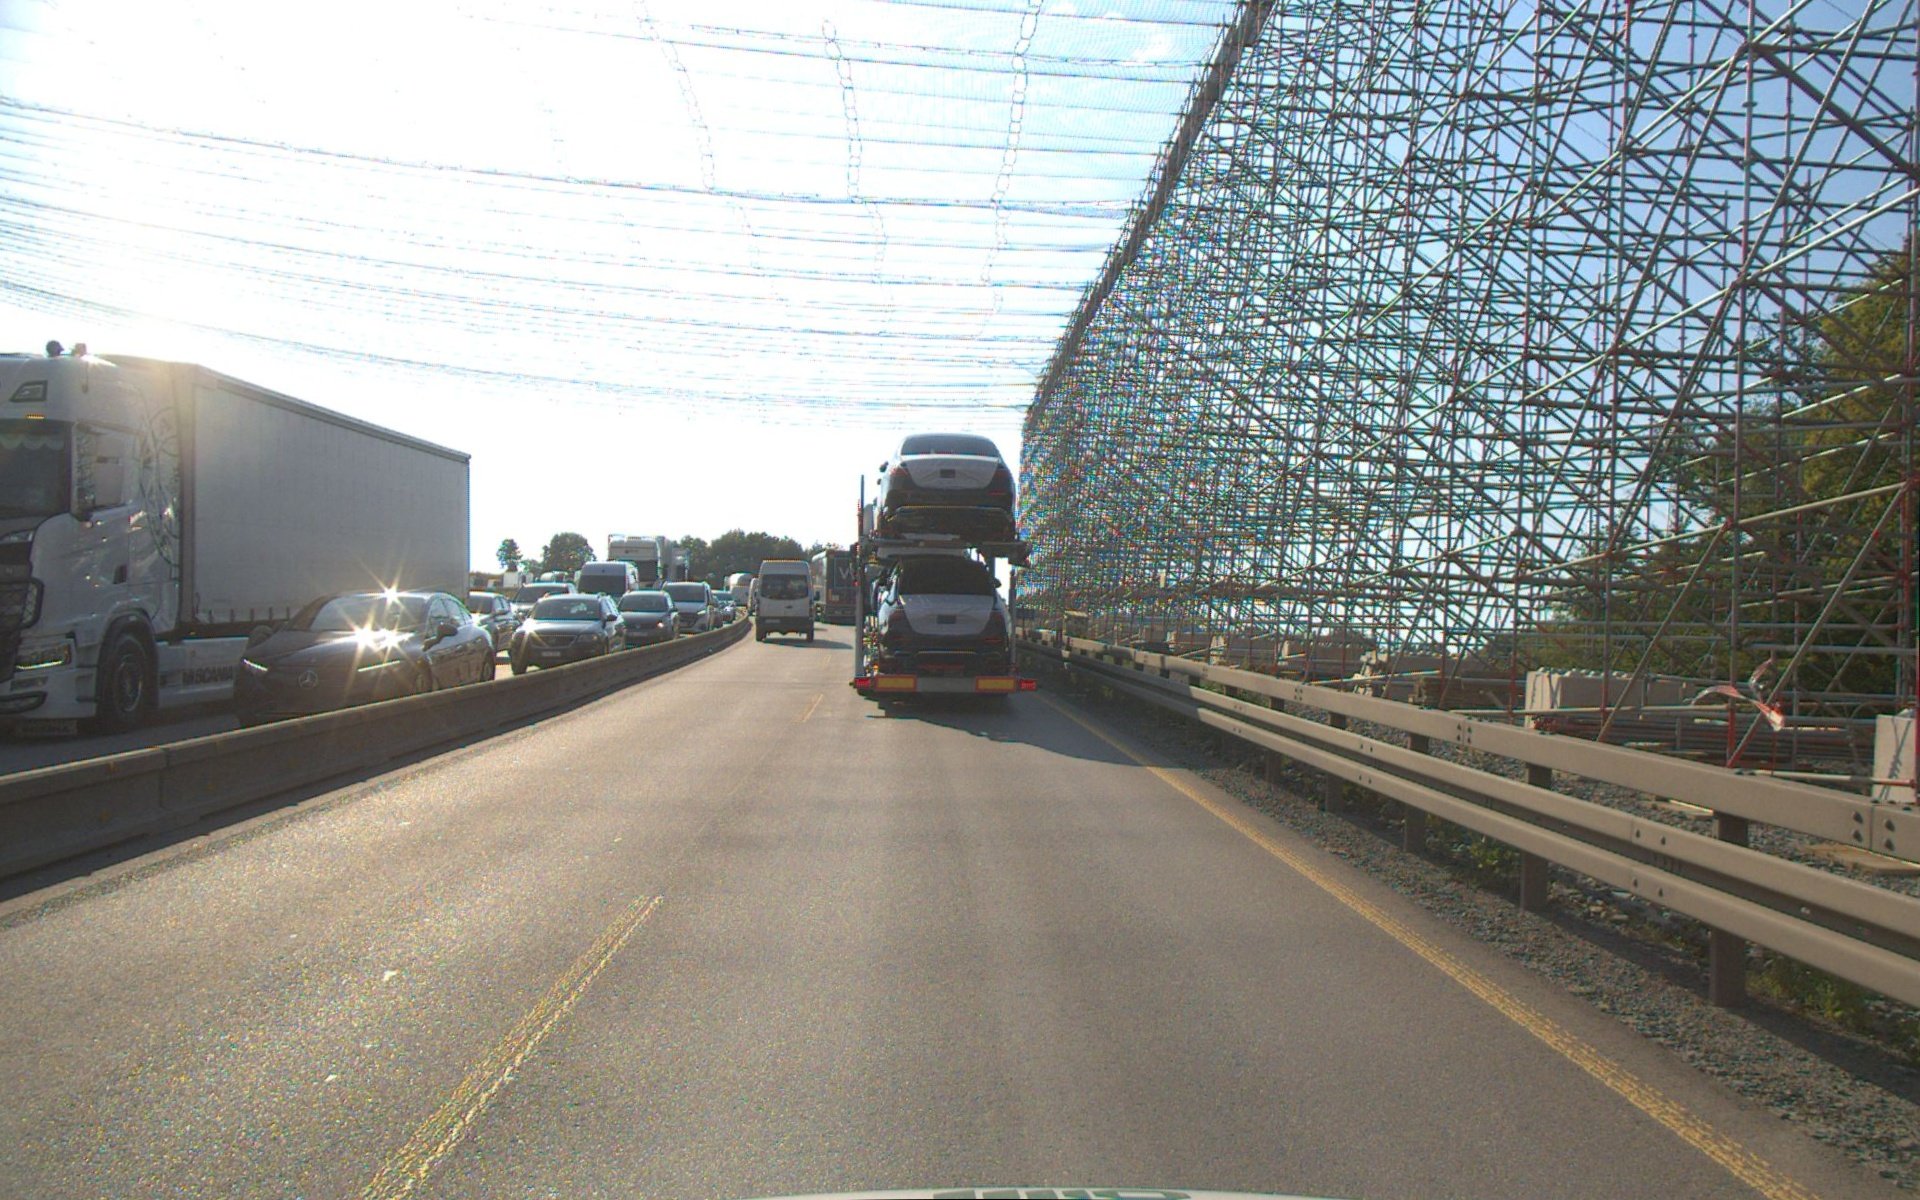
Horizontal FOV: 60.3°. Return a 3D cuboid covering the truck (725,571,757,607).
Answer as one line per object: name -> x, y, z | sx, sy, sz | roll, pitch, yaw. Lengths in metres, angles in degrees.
truck -> -24.418, -1.246, 184.183 | 2.571, 3.788, 9.629 | 2, 0, -12

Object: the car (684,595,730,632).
car -> -10.782, 0.538, 70.307 | 1.803, 1.479, 3.991 | 2, 0, -10

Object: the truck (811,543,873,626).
truck -> -7.002, -0.885, 96.718 | 2.681, 4.462, 11.499 | 1, 0, -8

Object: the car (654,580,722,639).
car -> -9.341, 0.315, 57.063 | 1.800, 1.926, 3.998 | 2, 0, -3

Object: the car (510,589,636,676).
car -> -7.567, 0.594, 32.694 | 1.707, 1.570, 4.401 | 2, 0, -4

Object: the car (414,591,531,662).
car -> -10.975, 0.568, 37.502 | 1.632, 1.466, 3.849 | 2, 0, -3

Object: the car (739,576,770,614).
car -> -14.600, -0.343, 117.211 | 1.957, 2.623, 3.991 | 2, 0, -9

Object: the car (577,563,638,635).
car -> -13.416, -0.048, 63.143 | 1.956, 2.586, 3.992 | 2, 0, -9

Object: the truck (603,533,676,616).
truck -> -14.871, -1.122, 77.384 | 2.546, 3.534, 12.370 | 2, 0, -8

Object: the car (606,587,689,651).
car -> -8.639, 0.509, 46.020 | 1.661, 1.657, 3.998 | 2, 0, -3

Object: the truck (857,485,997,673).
truck -> -0.872, -0.389, 37.113 | 2.824, 3.767, 7.320 | 0, -1, -3

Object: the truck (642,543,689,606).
truck -> -17.874, -1.515, 100.877 | 2.547, 3.534, 12.364 | 2, 0, -9

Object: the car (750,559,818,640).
car -> -6.006, 0.016, 56.129 | 1.922, 2.667, 3.988 | 0, -1, -11

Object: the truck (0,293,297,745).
truck -> -9.882, -0.772, 18.751 | 2.610, 4.304, 6.099 | 0, 0, -4

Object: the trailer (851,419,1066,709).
trailer -> -0.422, -0.414, 29.211 | 2.812, 3.790, 14.936 | 0, 0, -3

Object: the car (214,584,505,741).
car -> -6.683, 0.628, 19.003 | 1.749, 1.528, 4.751 | 2, 0, -3

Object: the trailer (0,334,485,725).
trailer -> -10.271, -0.805, 25.453 | 2.601, 4.307, 13.909 | 2, 0, -4

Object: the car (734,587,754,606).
car -> -19.436, -0.336, 148.871 | 1.677, 1.646, 3.499 | 0, -1, -5

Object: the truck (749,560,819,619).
truck -> -14.068, -0.727, 130.947 | 3.625, 4.294, 13.618 | -2, 0, -14

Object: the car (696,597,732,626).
car -> -13.090, 0.596, 87.825 | 1.671, 1.479, 3.989 | 2, 0, -11

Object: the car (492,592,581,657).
car -> -11.846, 0.653, 46.483 | 1.646, 1.713, 3.997 | 2, 0, -3
